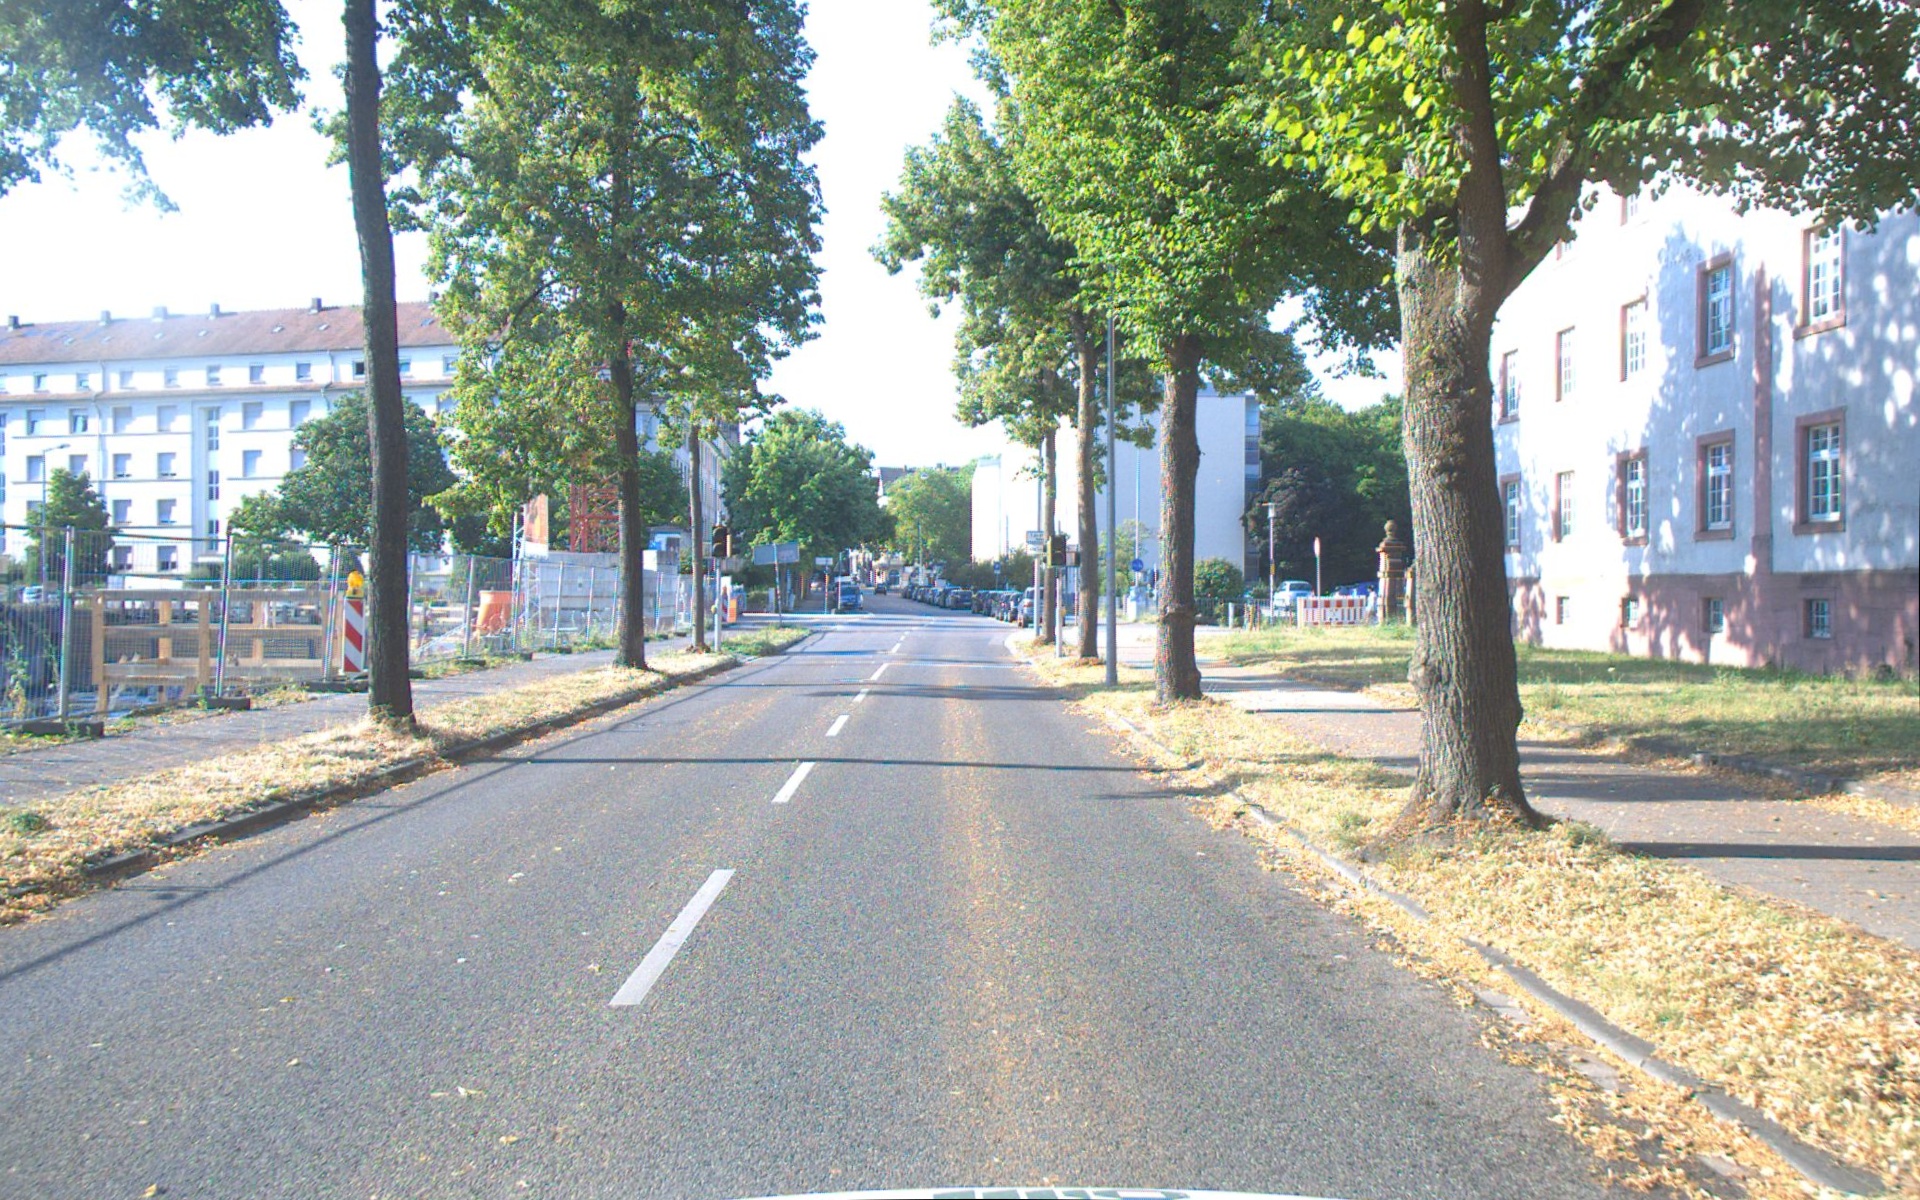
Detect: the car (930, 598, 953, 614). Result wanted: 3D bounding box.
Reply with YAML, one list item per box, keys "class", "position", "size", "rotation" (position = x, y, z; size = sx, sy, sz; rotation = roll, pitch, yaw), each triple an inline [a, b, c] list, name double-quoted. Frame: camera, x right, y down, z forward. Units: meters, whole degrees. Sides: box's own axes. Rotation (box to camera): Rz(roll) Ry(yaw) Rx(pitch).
- class: "car"
  position: [-1.709, 0.568, 149.117]
  size: [1.805, 1.410, 3.997]
  rotation: [-1, 0, -4]

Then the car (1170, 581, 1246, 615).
- class: "car"
  position: [13.444, -0.112, 89.821]
  size: [3.903, 1.713, 2.001]
  rotation: [1, -1, 5]

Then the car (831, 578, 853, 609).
- class: "car"
  position: [-12.706, -0.665, 178.002]
  size: [2.143, 3.185, 4.980]
  rotation: [-2, 0, -5]

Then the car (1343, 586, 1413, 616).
- class: "car"
  position: [25.904, 0.039, 102.625]
  size: [3.905, 1.758, 1.773]
  rotation: [1, 0, 0]

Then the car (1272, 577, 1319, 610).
- class: "car"
  position: [17.412, -0.338, 86.027]
  size: [1.775, 1.587, 3.626]
  rotation: [1, -1, 1]

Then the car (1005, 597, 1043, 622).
- class: "car"
  position: [3.274, 0.488, 85.223]
  size: [1.743, 1.248, 3.999]
  rotation: [-1, 0, -1]

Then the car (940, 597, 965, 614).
- class: "car"
  position: [-0.623, 0.439, 136.786]
  size: [1.805, 1.410, 3.997]
  rotation: [-1, 0, -4]

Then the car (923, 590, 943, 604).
- class: "car"
  position: [-2.802, -0.292, 169.703]
  size: [1.805, 1.410, 3.997]
  rotation: [-1, 0, -4]

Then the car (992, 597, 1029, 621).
- class: "car"
  position: [2.765, 0.472, 90.552]
  size: [1.804, 1.283, 3.999]
  rotation: [-1, 0, -1]

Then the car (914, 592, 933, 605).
- class: "car"
  position: [-3.871, -0.153, 175.773]
  size: [1.805, 1.410, 3.997]
  rotation: [-1, 0, -4]

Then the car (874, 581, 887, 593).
- class: "car"
  position: [-11.290, -1.852, 234.344]
  size: [1.680, 1.512, 3.996]
  rotation: [-1, 0, -4]

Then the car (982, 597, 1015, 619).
- class: "car"
  position: [2.319, 0.487, 101.164]
  size: [1.804, 1.283, 3.999]
  rotation: [-1, 0, -1]

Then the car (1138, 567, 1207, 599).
- class: "car"
  position: [12.668, -1.011, 98.669]
  size: [3.905, 1.758, 1.773]
  rotation: [1, 0, 0]

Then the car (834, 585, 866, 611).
- class: "car"
  position: [-7.542, -0.106, 113.099]
  size: [1.955, 1.717, 3.994]
  rotation: [-1, 0, -6]

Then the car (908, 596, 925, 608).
- class: "car"
  position: [-5.274, 0.250, 198.915]
  size: [1.805, 1.410, 3.997]
  rotation: [-3, 0, -4]

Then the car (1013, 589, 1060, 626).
- class: "car"
  position: [3.382, 0.321, 73.669]
  size: [1.804, 1.601, 3.999]
  rotation: [-1, 0, -1]

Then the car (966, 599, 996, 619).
- class: "car"
  position: [1.334, 0.574, 107.996]
  size: [1.804, 1.283, 3.999]
  rotation: [-1, 0, -1]

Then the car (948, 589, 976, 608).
- class: "car"
  position: [0.152, -0.090, 126.058]
  size: [1.805, 1.410, 3.997]
  rotation: [-1, 0, -4]
